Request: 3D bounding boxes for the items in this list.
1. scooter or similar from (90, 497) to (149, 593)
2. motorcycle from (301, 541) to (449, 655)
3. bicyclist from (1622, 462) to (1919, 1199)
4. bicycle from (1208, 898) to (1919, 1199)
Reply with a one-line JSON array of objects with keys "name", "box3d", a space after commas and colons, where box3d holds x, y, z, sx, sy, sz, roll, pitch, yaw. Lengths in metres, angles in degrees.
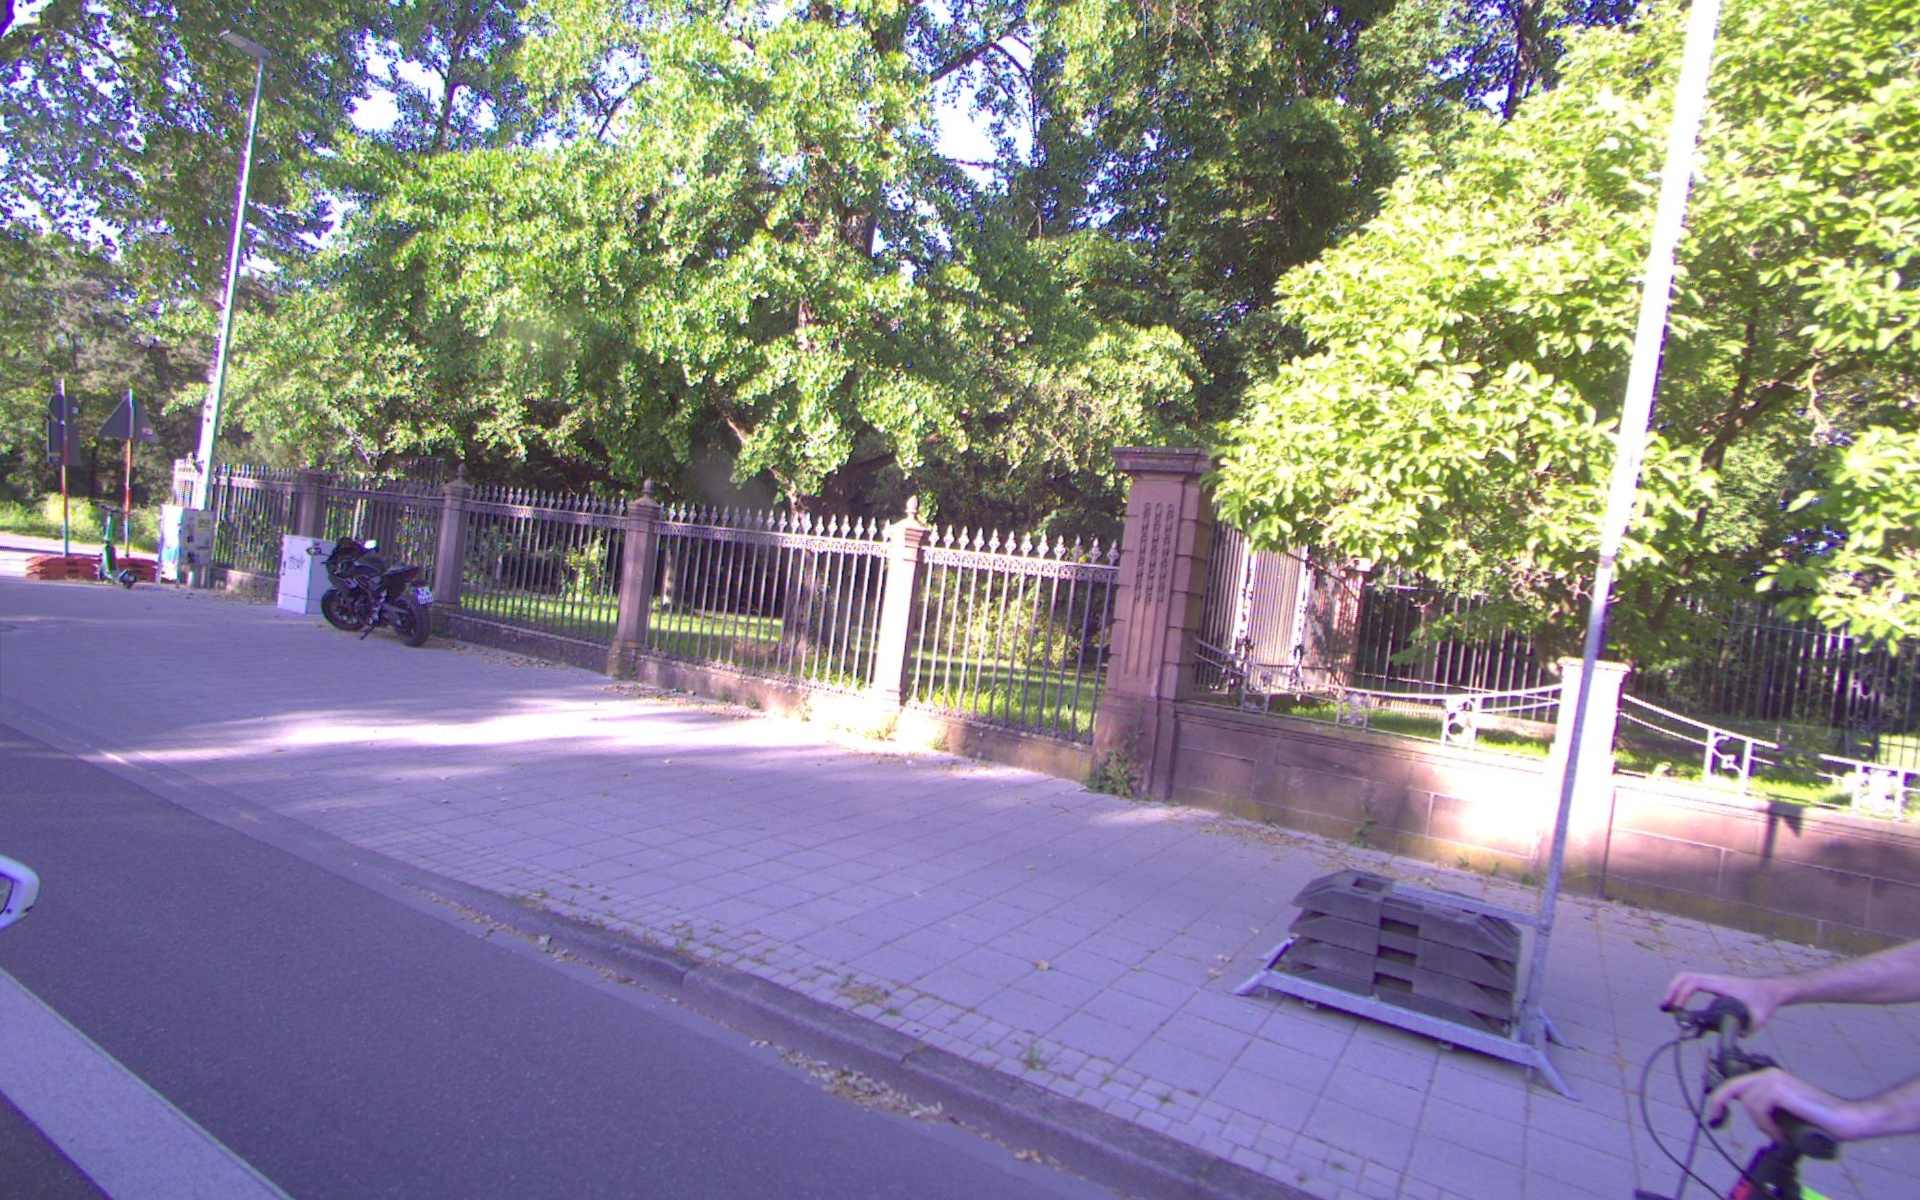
[{"name": "scooter or similar", "box3d": [-12.682, -0.836, 15.172, 1.152, 1.344, 0.228, 7, 2, 31]}, {"name": "motorcycle", "box3d": [-7.068, -0.038, 12.113, 2.134, 1.146, 0.506, 7, 2, 31]}, {"name": "bicyclist", "box3d": [1.346, 0.712, 1.296, 0.709, 1.621, 0.667, 8, -1, 30]}, {"name": "bicycle", "box3d": [1.376, 1.193, 1.239, 2.046, 1.021, 0.670, 7, -1, 31]}]
